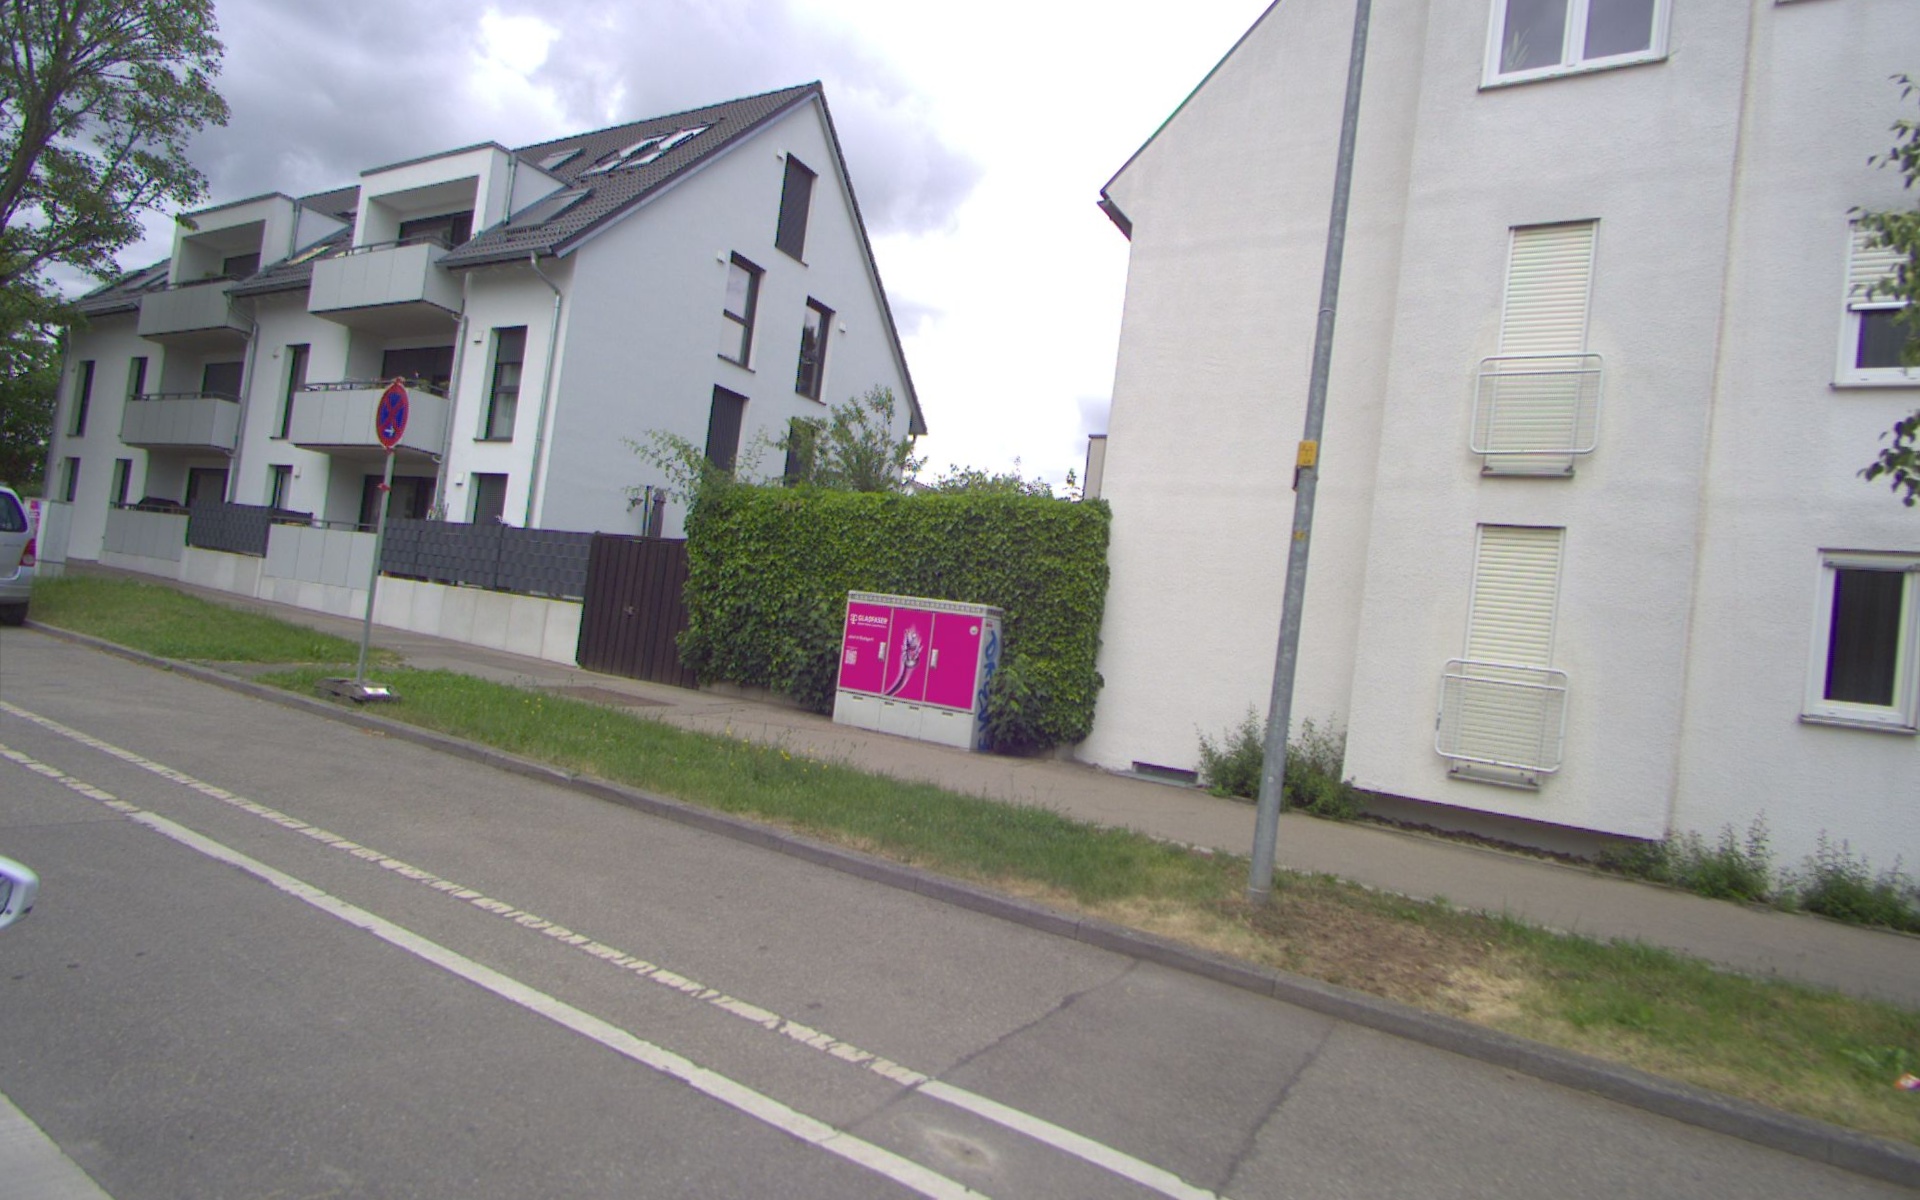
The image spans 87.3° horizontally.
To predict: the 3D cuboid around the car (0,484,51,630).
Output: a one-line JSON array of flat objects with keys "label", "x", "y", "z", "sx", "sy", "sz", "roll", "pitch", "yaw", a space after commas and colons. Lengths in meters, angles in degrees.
[{"label": "car", "x": -12.989, "y": -0.724, "z": 12.332, "sx": 3.587, "sy": 1.685, "sz": 1.636, "roll": 7, "pitch": -1, "yaw": 31}]
